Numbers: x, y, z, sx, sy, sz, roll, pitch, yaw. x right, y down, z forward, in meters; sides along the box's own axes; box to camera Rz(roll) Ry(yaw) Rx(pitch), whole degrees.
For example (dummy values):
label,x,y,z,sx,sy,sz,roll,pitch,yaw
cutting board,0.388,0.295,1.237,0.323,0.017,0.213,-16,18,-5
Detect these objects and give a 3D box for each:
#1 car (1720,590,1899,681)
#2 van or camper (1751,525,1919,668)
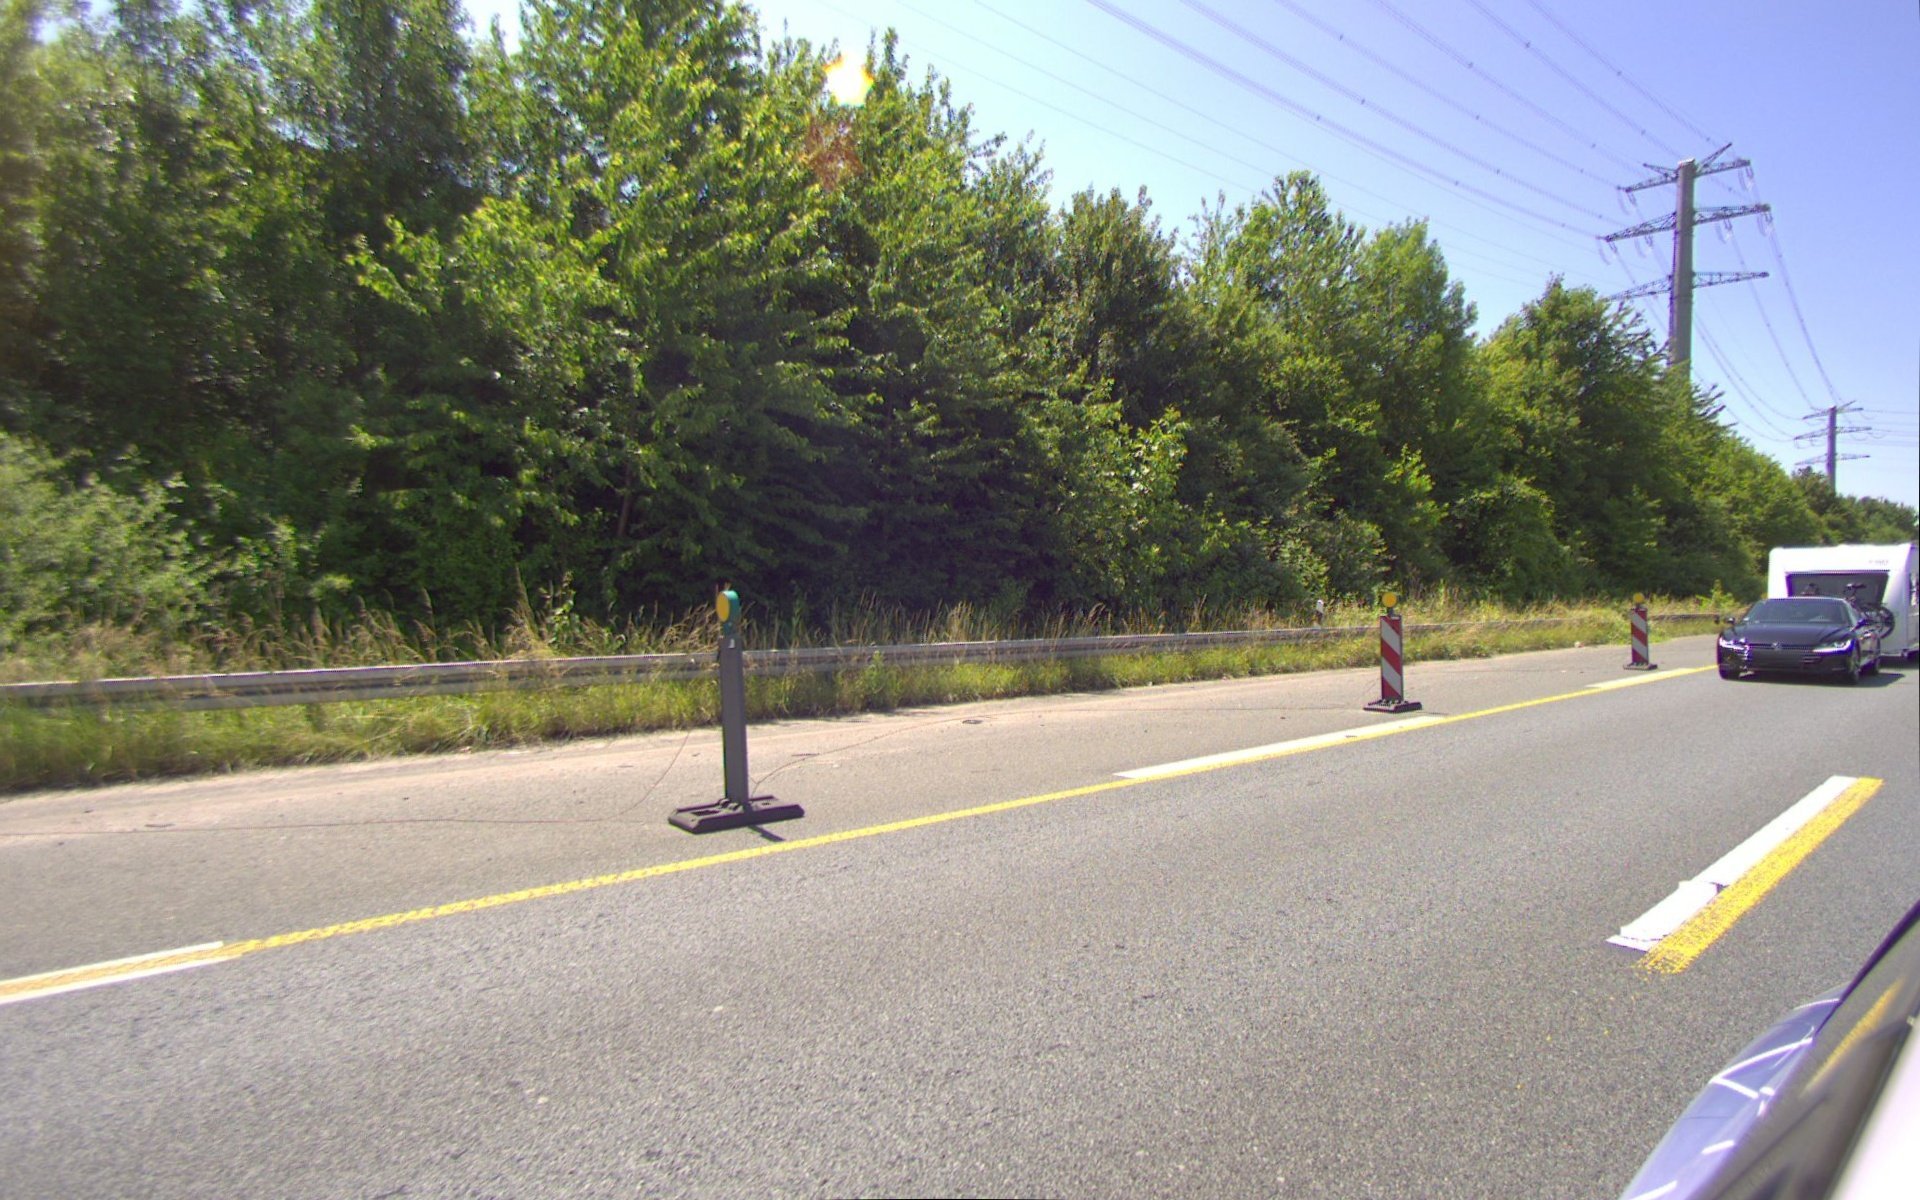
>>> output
label,x,y,z,sx,sy,sz,roll,pitch,yaw
car,15.025,0.539,17.835,4.136,1.425,1.799,-1,0,-41
van or camper,19.685,-0.105,21.974,8.271,2.597,2.430,-1,0,-41
